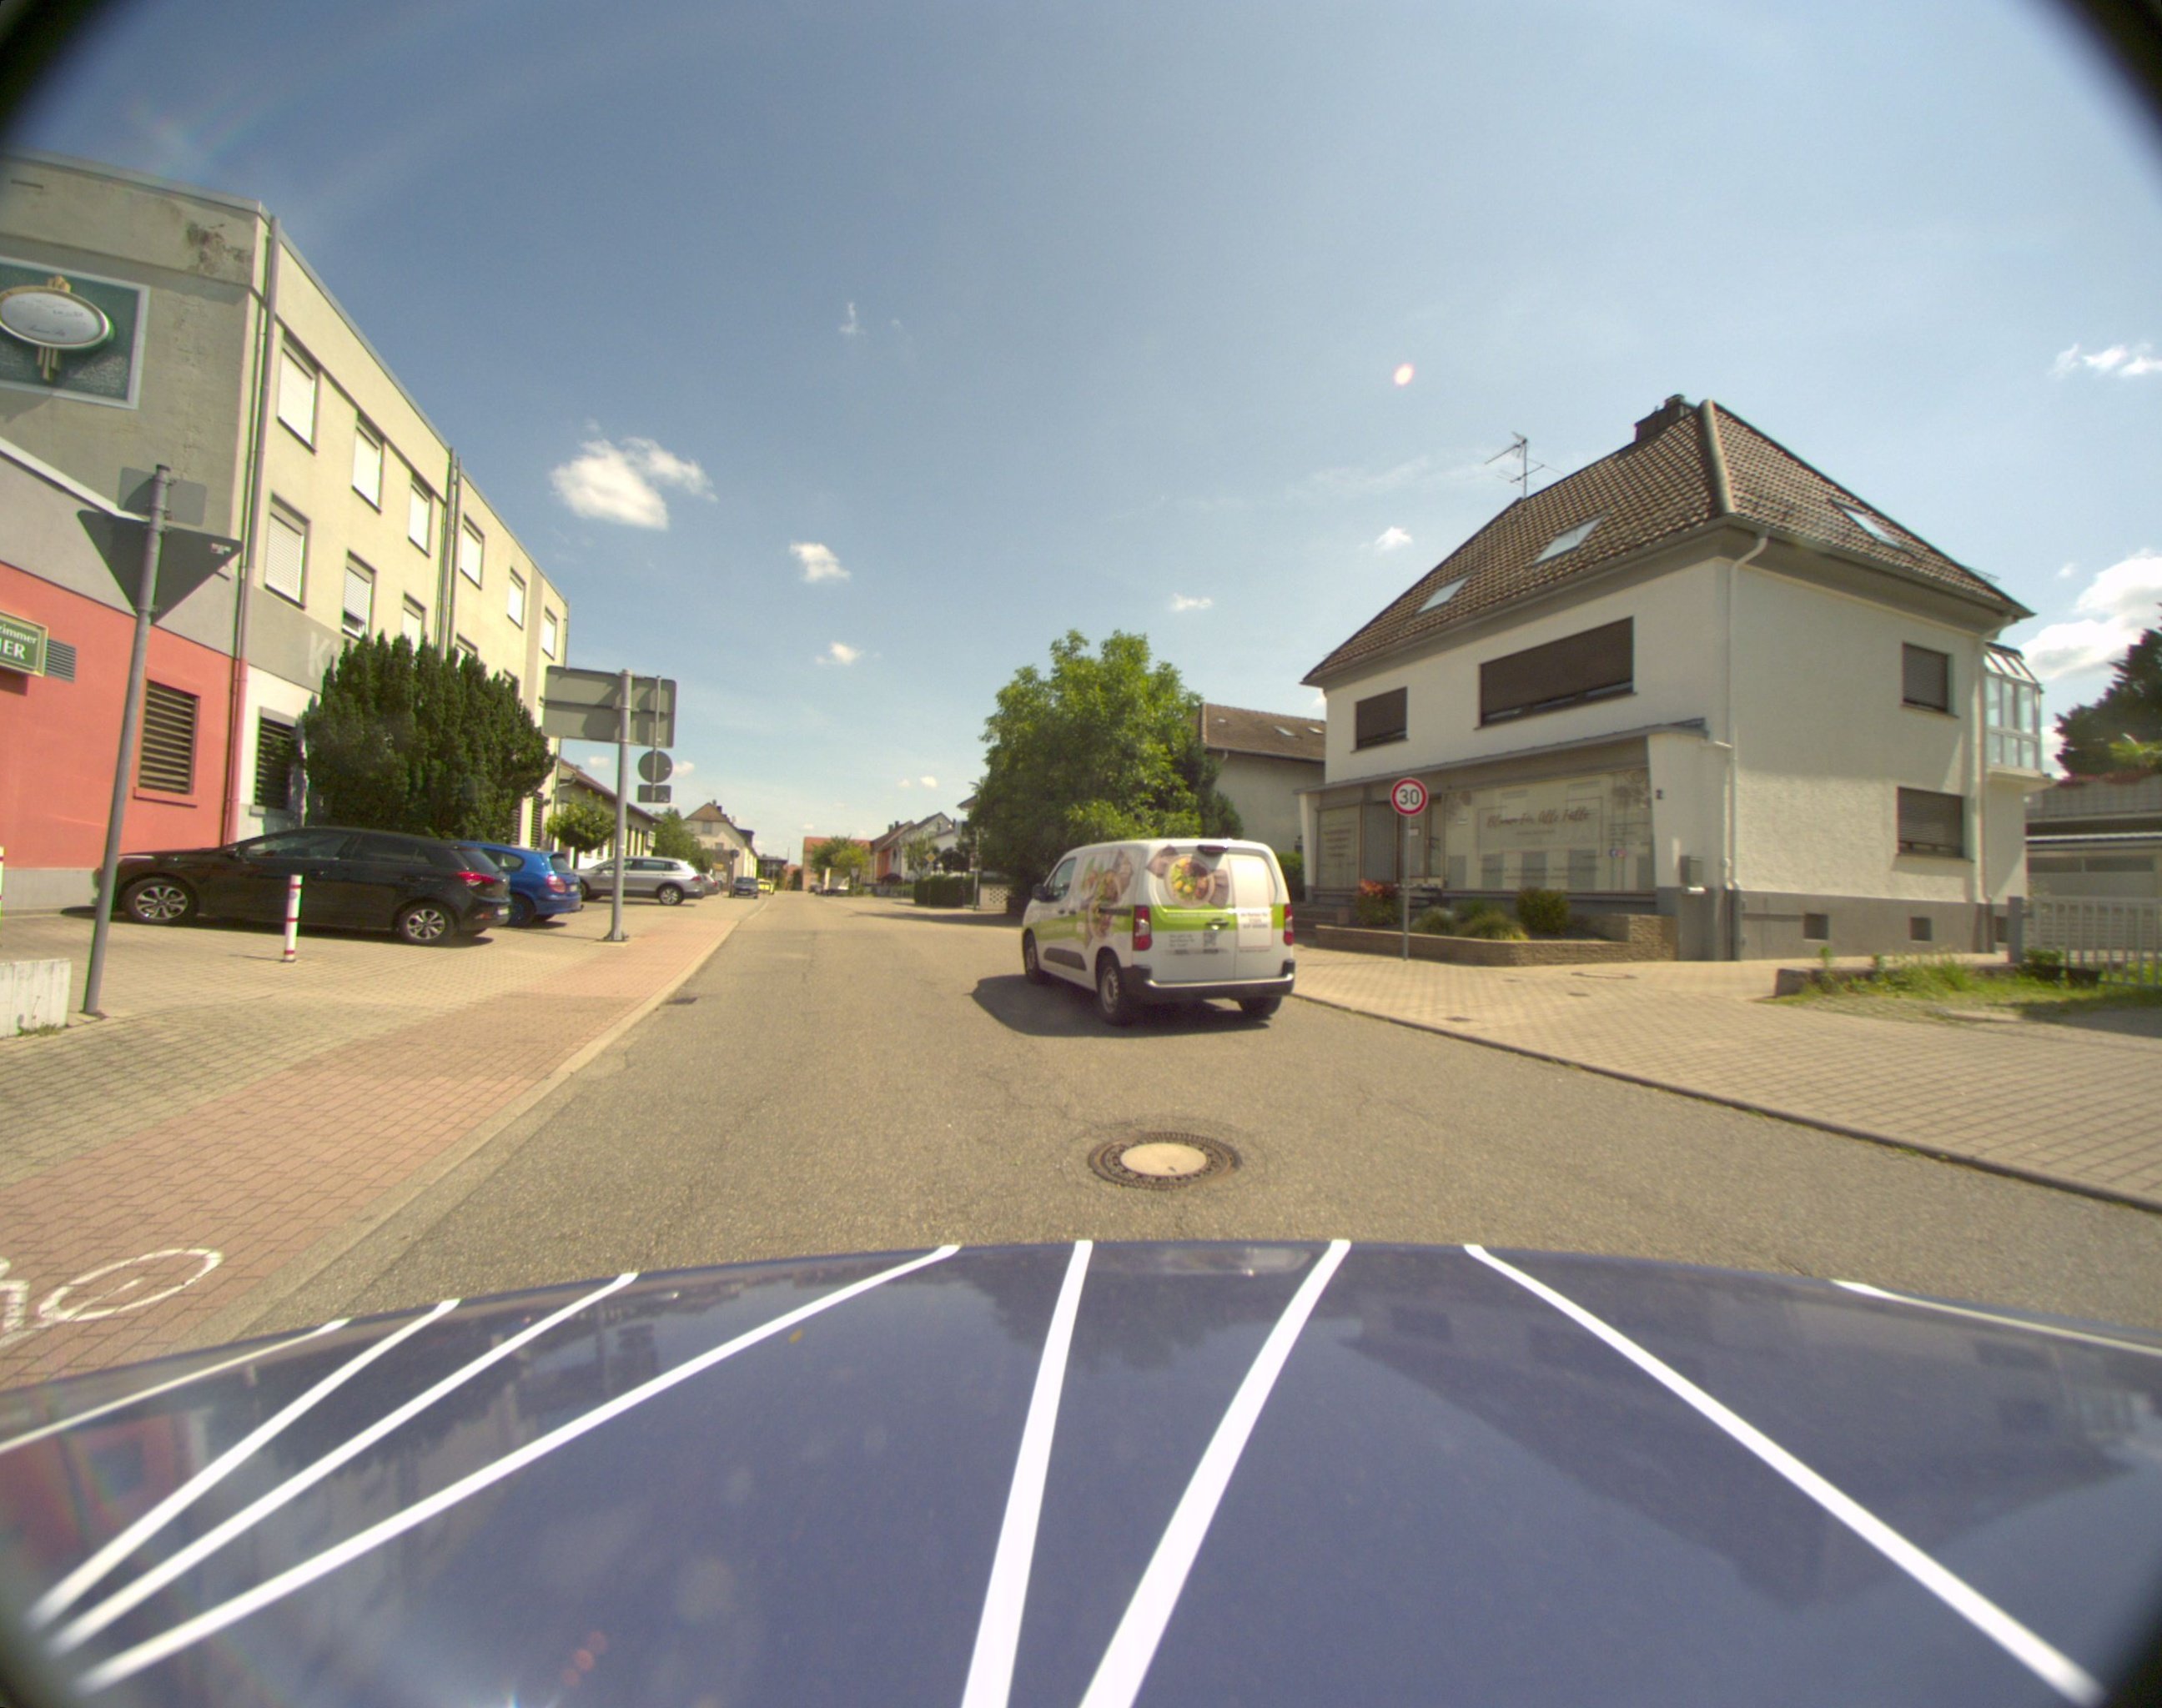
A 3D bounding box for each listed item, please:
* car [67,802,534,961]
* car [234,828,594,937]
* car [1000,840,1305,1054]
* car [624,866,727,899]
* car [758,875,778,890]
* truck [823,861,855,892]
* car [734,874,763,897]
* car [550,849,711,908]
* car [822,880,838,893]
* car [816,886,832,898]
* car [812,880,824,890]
[{"bbox_3d":[-10.246,0.427,10.462,3.915,1.480,1.806,10,-4,-23],"label":"car"},{"bbox_3d":[-11.453,0.523,13.491,4.343,1.431,1.776,6,-1,-22],"label":"car"},{"bbox_3d":[0.482,0.859,9.008,1.820,1.843,4.552,1,-1,-20],"label":"car"},{"bbox_3d":[-21.510,1.553,40.533,4.547,1.445,1.915,5,-3,-21],"label":"car"},{"bbox_3d":[-32.793,3.004,79.684,1.724,1.389,4.209,7,-5,-21],"label":"car"},{"bbox_3d":[-27.735,2.635,86.890,2.449,3.225,7.024,7,-4,-23],"label":"truck"},{"bbox_3d":[-22.606,2.149,51.773,1.635,1.479,4.133,3,-3,-23],"label":"car"},{"bbox_3d":[-15.411,0.894,26.302,4.474,1.686,1.919,5,-3,-23],"label":"car"},{"bbox_3d":[-32.974,4.244,99.764,1.724,1.490,4.208,5,-4,-22],"label":"car"},{"bbox_3d":[-35.632,5.263,105.292,1.724,1.490,4.208,5,-4,-22],"label":"car"},{"bbox_3d":[-46.436,5.483,133.956,1.724,1.490,4.208,5,-4,-22],"label":"car"}]
